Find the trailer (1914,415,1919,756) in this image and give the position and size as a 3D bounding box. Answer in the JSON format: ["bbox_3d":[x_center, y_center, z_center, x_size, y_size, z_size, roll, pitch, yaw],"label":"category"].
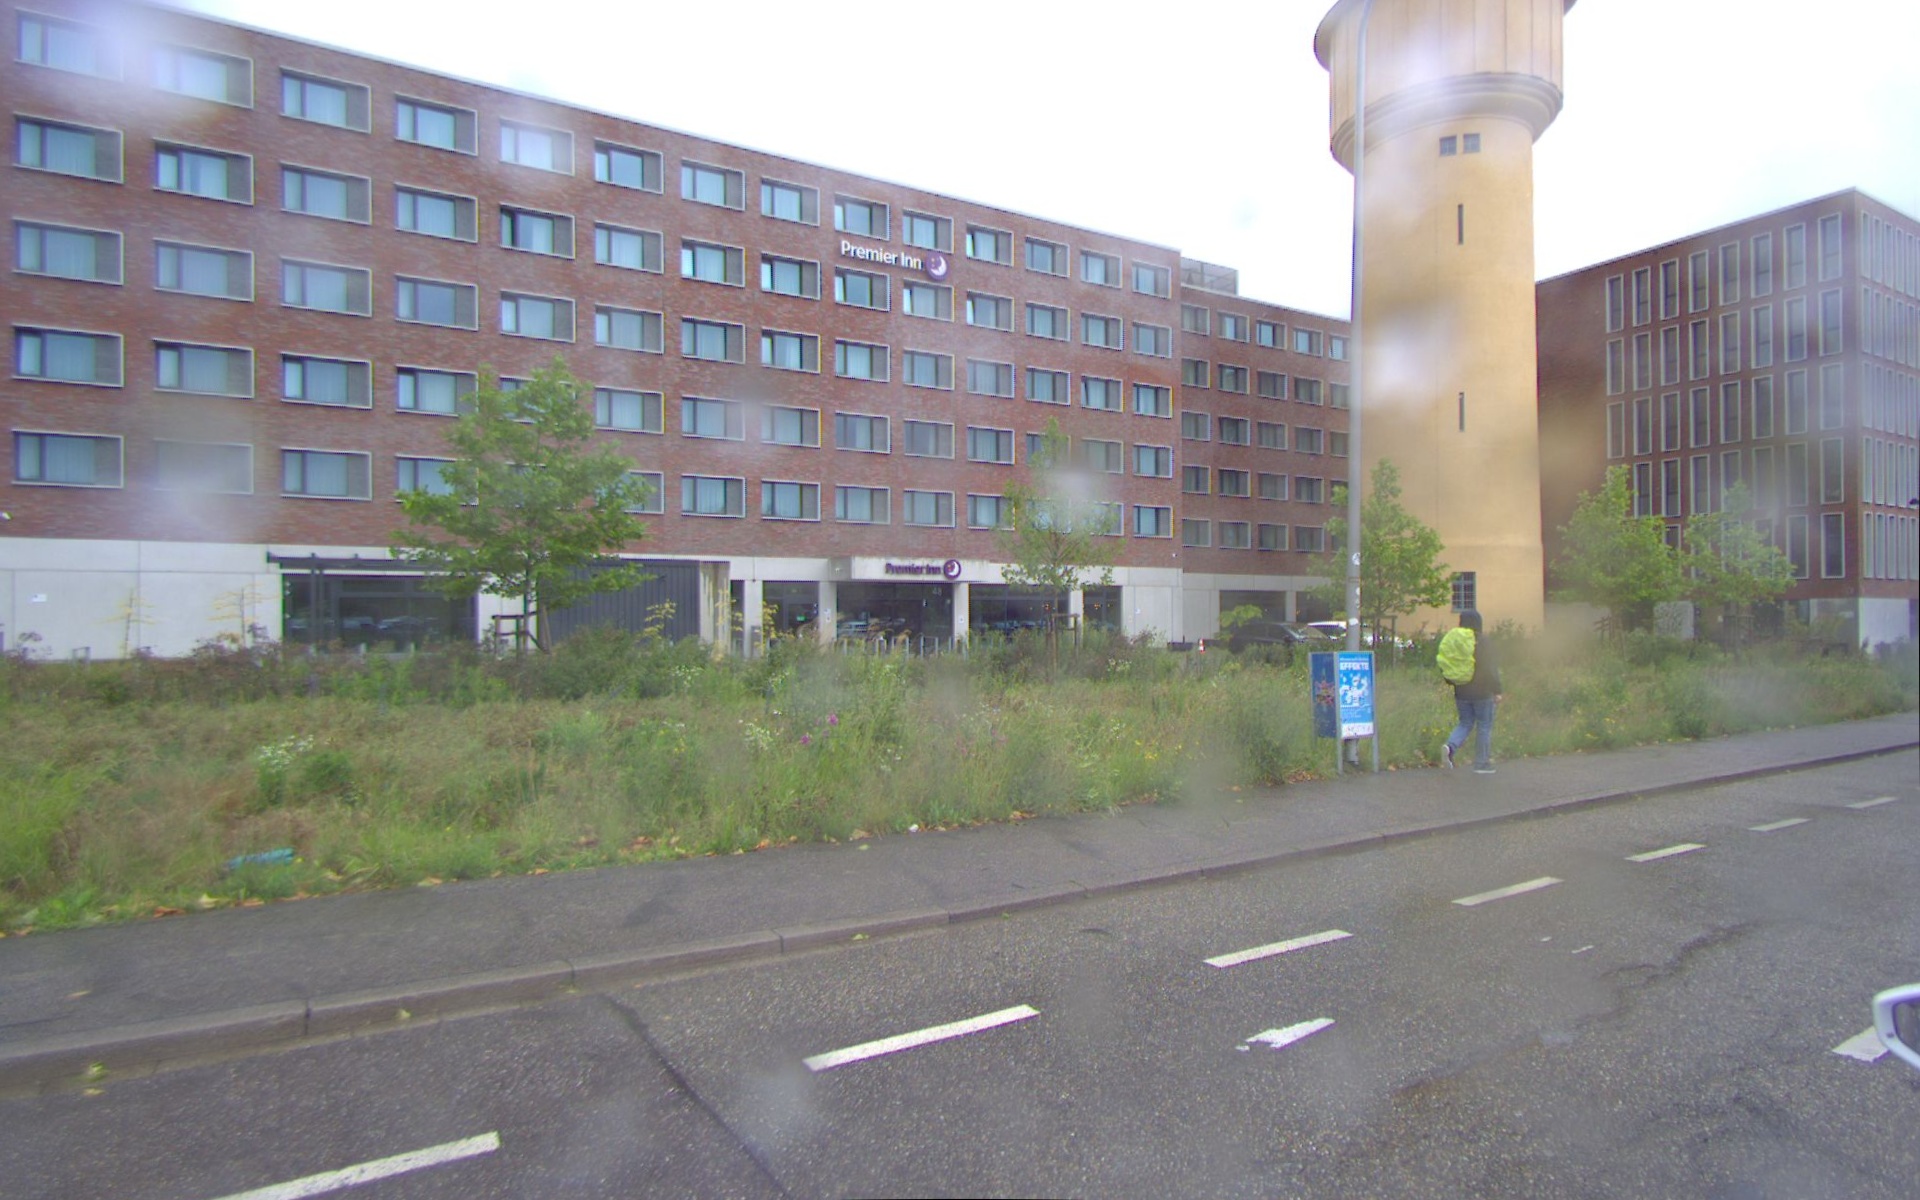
[{"bbox_3d":[19.744,-0.098,16.376,13.591,4.715,3.274,1,-2,-34],"label":"trailer"}]

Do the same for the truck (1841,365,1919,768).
[{"bbox_3d":[14.205,-0.354,12.638,5.971,4.715,3.274,1,-2,-34],"label":"truck"}]

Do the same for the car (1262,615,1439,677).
[{"bbox_3d":[11.242,1.286,29.205,1.980,1.663,4.493,2,-2,-34],"label":"car"}]

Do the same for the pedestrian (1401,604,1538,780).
[{"bbox_3d":[5.380,0.928,10.620,1.015,1.741,0.903,1,-1,-32],"label":"pedestrian"}]
